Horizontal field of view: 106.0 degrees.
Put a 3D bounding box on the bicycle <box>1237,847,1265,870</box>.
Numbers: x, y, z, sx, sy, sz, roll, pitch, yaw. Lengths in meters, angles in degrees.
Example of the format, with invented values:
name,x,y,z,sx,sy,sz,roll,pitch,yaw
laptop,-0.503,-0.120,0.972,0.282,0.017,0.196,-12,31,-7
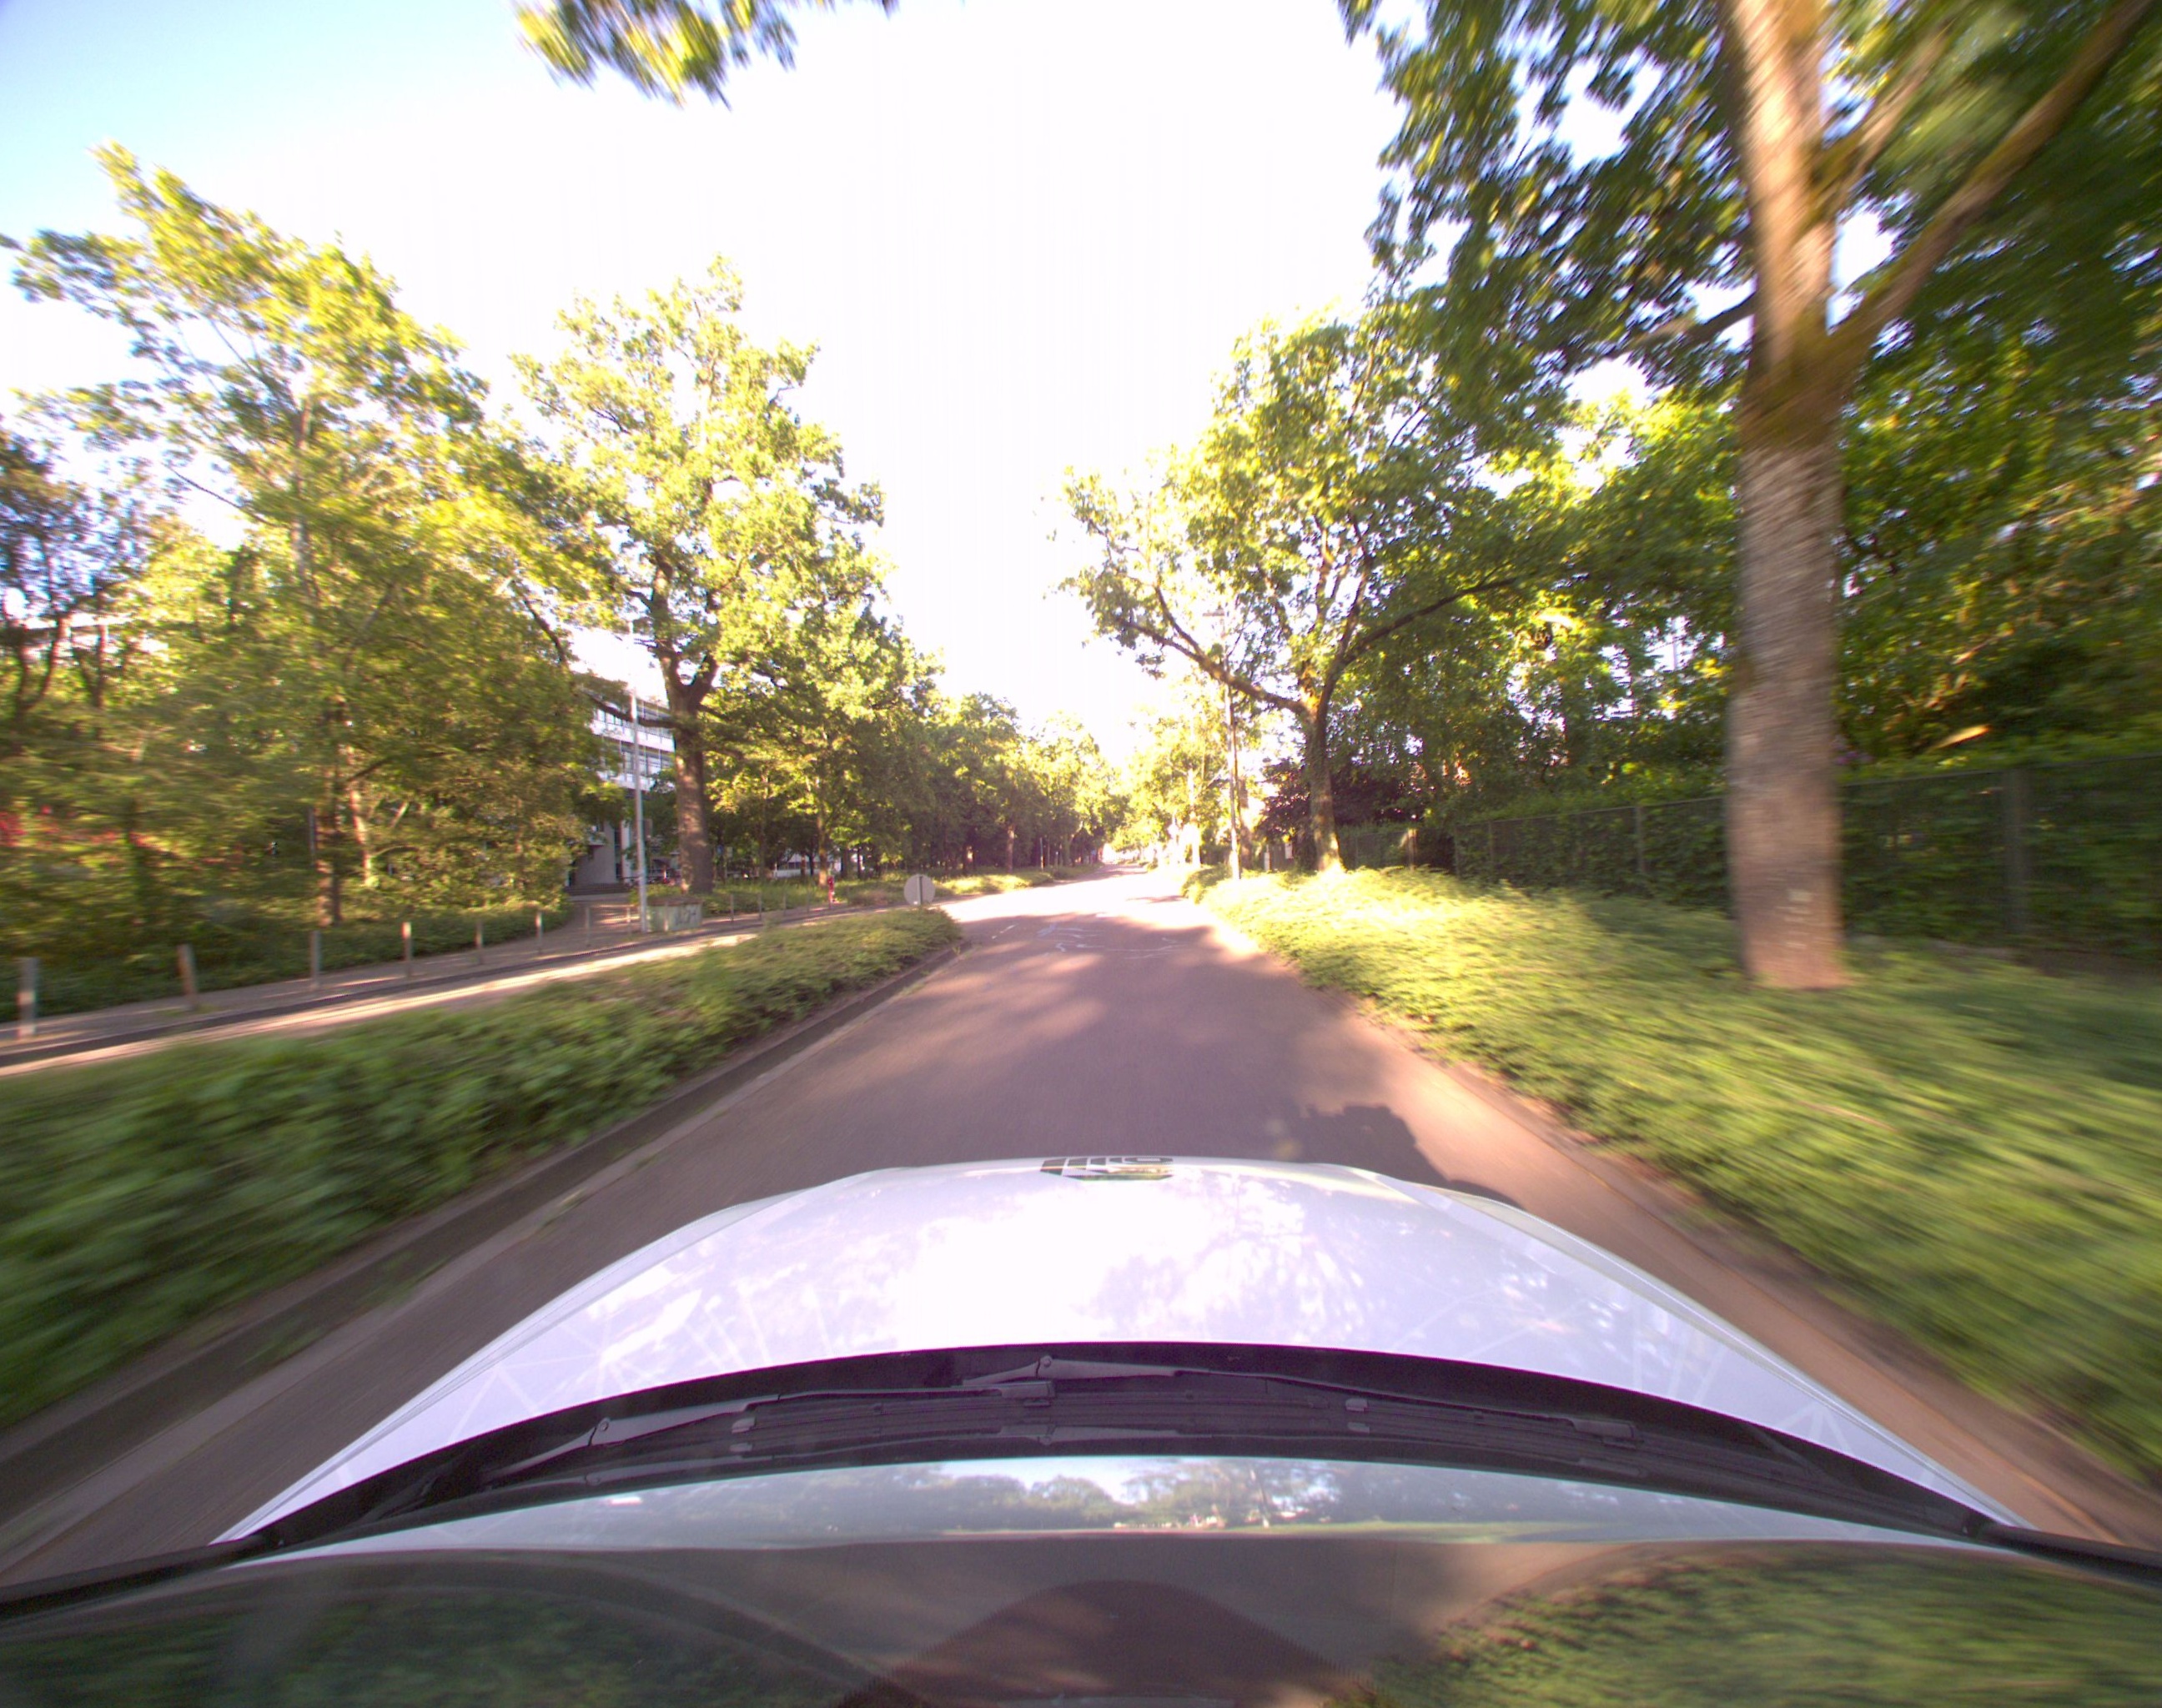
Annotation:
name,x,y,z,sx,sy,sz,roll,pitch,yaw
bicycle,9.800,0.236,46.985,0.875,1.200,2.340,-5,0,28

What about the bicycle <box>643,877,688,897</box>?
name,x,y,z,sx,sy,sz,roll,pitch,yaw
bicycle,-25.773,2.038,50.595,0.530,1.071,2.444,1,2,42

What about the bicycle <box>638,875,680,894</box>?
name,x,y,z,sx,sy,sz,roll,pitch,yaw
bicycle,-26.882,1.911,51.922,0.531,1.071,2.648,2,2,20
